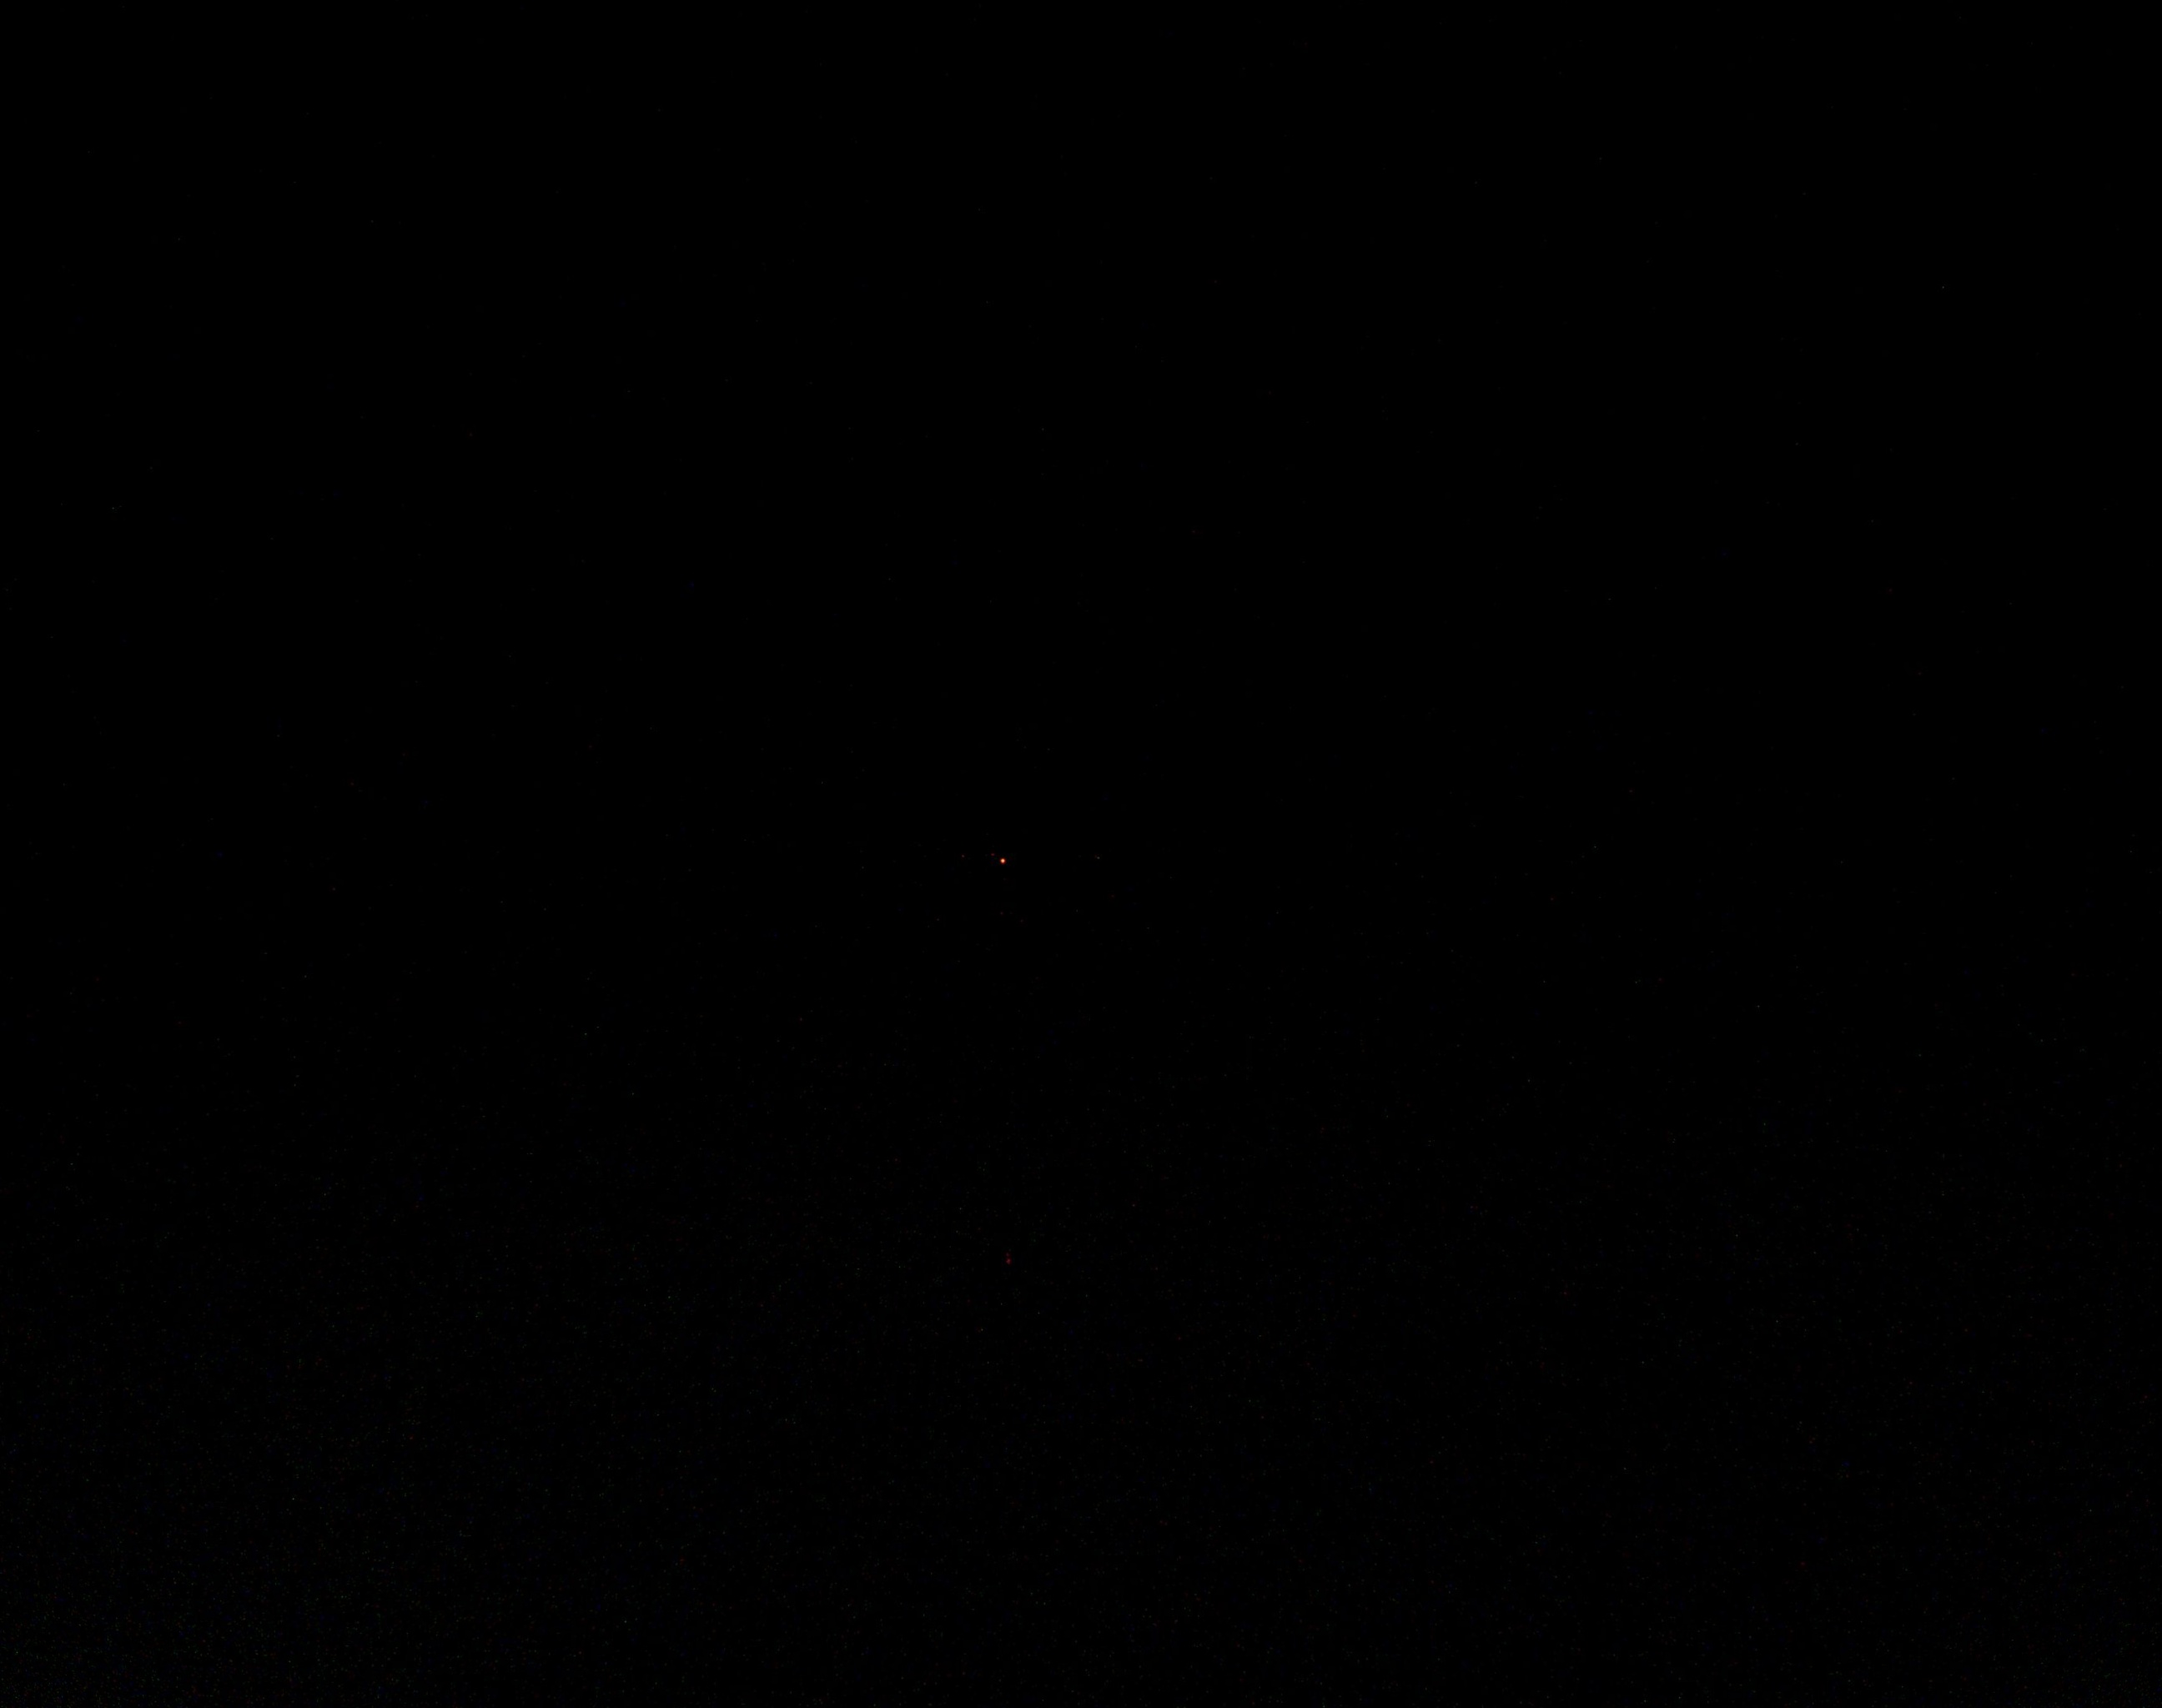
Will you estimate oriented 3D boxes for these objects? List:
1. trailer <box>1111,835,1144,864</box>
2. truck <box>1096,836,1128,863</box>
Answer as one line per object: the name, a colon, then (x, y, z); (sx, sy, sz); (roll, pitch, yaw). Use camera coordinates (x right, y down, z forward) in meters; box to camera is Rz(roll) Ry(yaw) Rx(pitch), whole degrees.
trailer: (6.542, -0.611, 109.298); (2.727, 3.933, 9.039); (0, 0, -10)
truck: (4.767, -0.603, 119.055); (2.690, 4.020, 10.644); (0, 0, -10)
